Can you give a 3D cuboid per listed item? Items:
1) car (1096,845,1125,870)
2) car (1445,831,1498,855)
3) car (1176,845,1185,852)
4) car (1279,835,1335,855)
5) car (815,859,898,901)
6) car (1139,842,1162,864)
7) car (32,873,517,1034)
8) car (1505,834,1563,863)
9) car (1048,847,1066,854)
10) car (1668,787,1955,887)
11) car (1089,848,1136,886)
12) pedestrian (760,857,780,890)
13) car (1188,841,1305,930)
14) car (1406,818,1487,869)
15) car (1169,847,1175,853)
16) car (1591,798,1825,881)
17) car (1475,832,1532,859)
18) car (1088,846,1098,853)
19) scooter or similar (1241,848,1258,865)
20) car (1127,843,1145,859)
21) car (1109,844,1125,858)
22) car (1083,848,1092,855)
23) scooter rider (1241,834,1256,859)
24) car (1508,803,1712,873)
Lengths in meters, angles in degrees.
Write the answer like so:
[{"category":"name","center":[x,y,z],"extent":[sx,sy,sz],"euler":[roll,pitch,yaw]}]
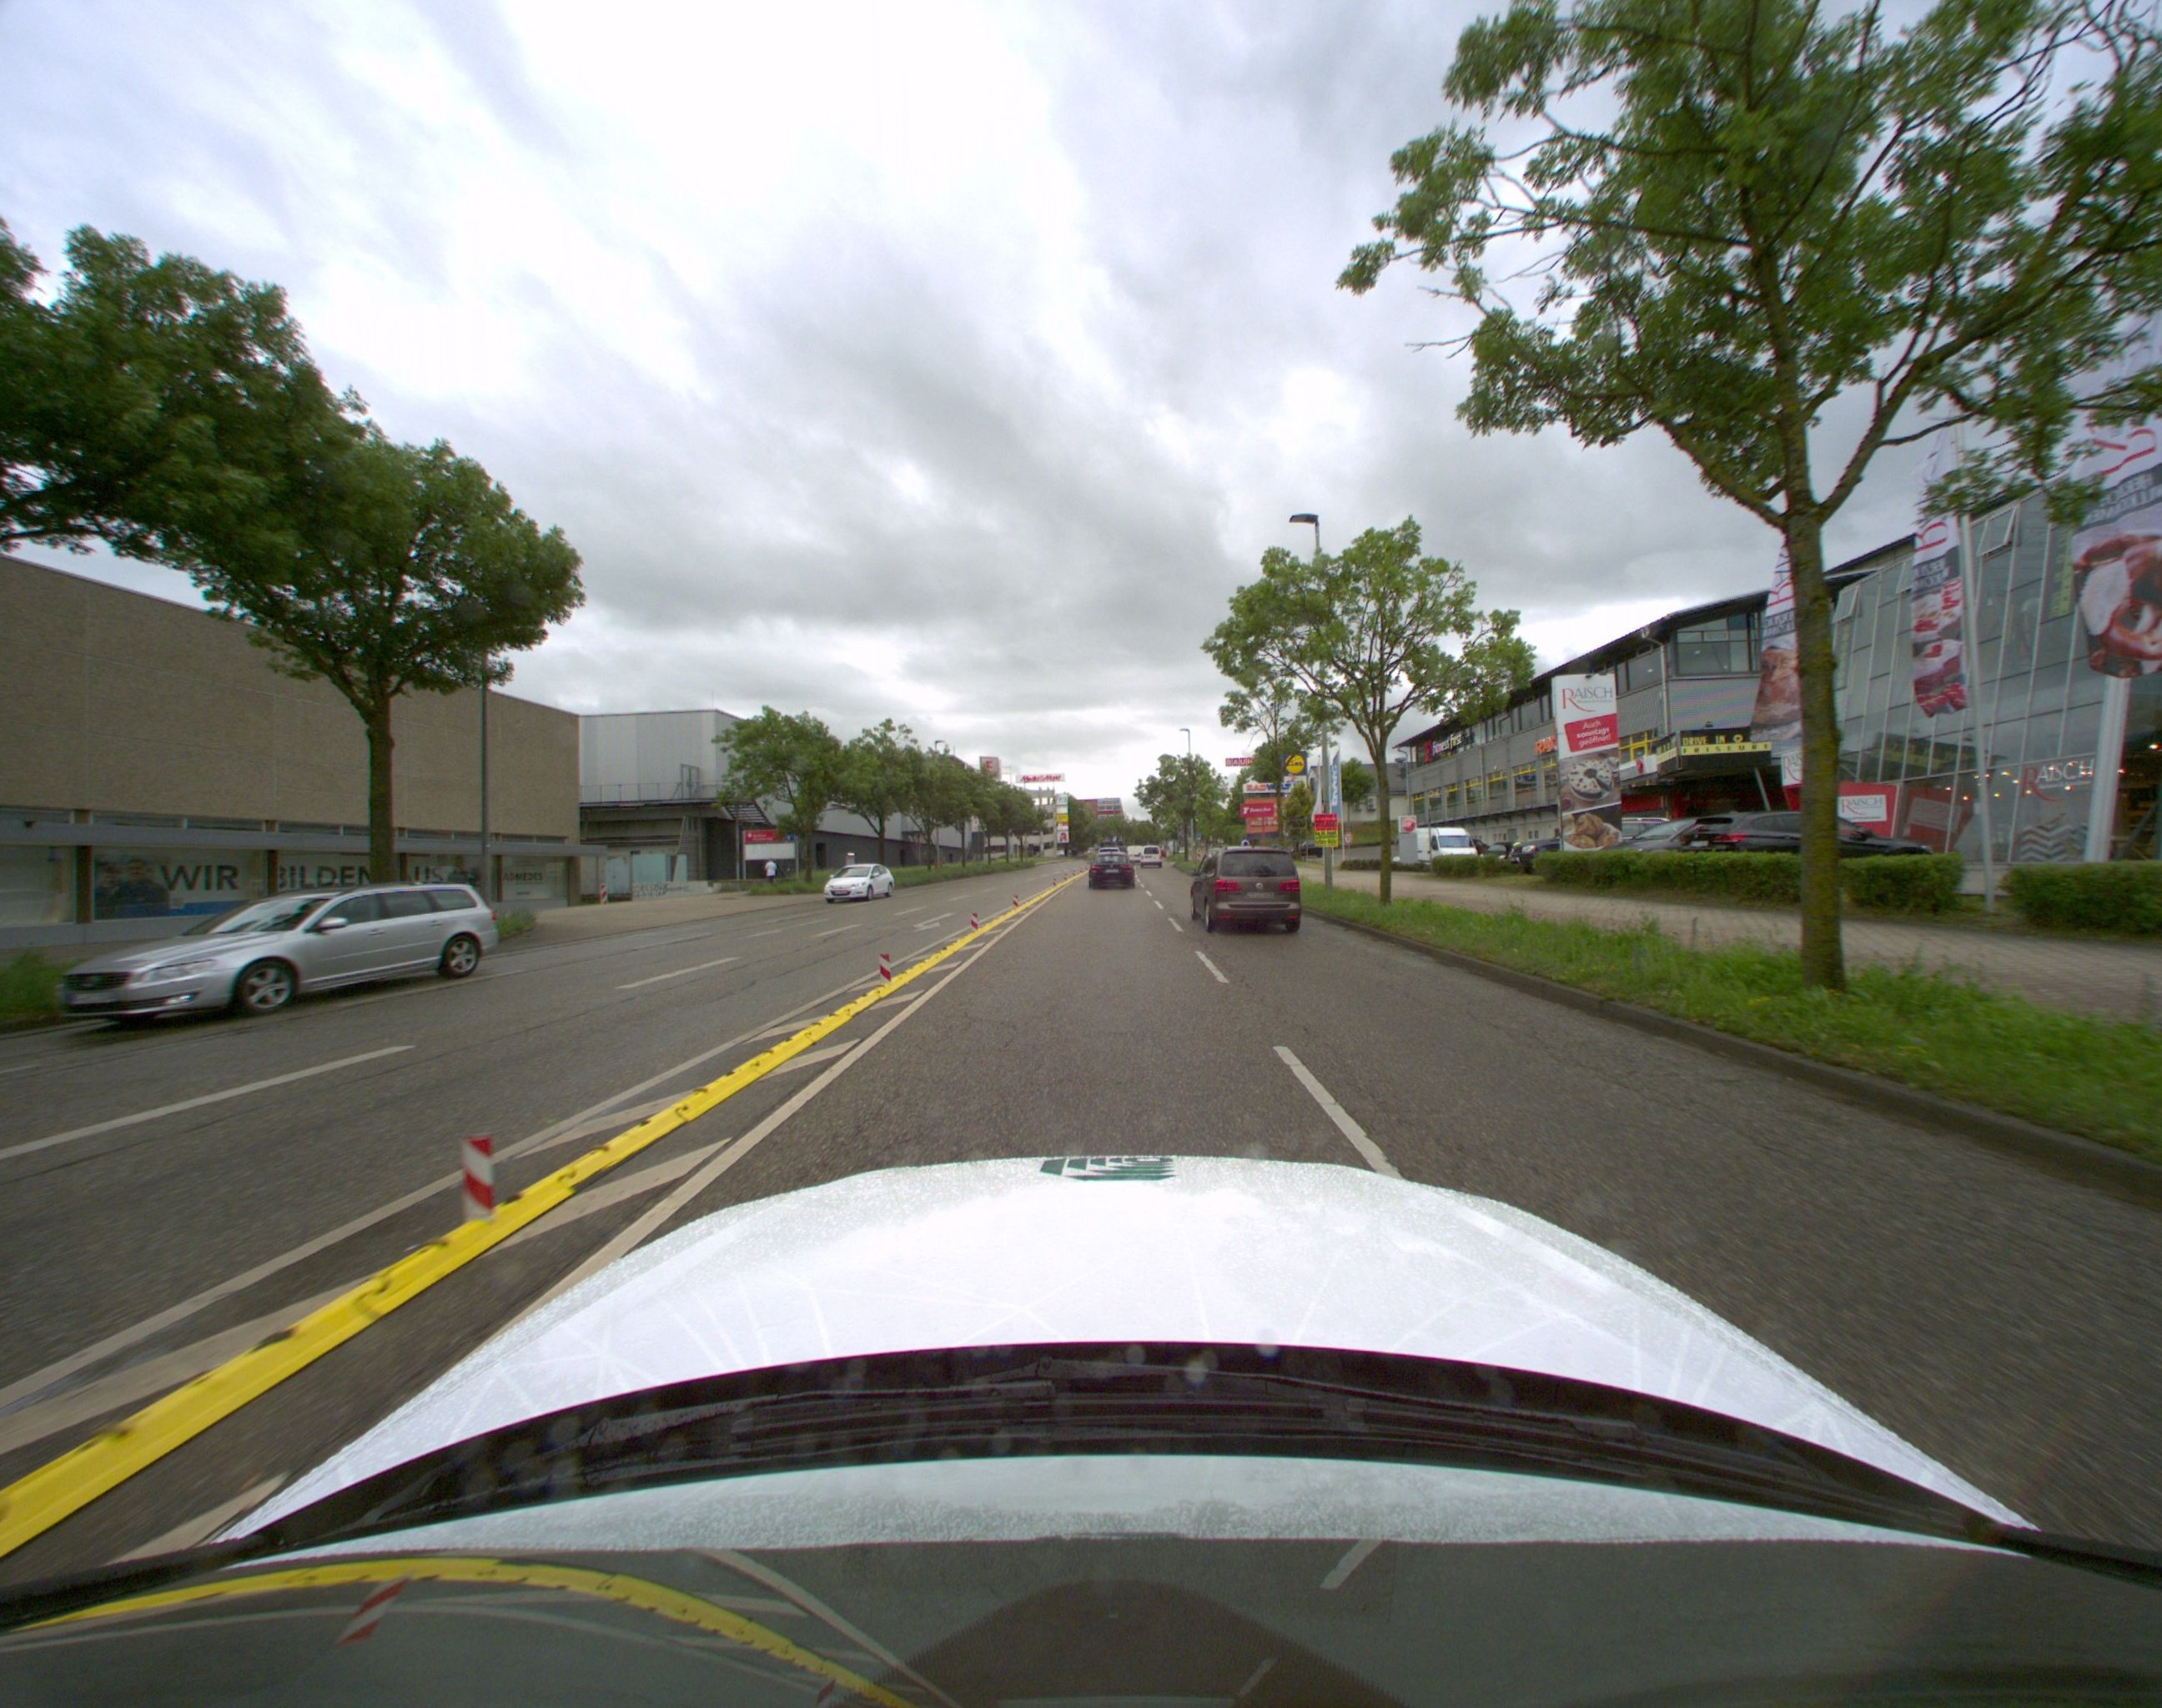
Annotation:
[{"category":"car","center":[1.935,0.203,52.422],"extent":[1.787,1.510,4.003],"euler":[0,0,3]},{"category":"car","center":[27.431,-0.778,57.189],"extent":[3.893,1.501,1.720],"euler":[-4,3,-37]},{"category":"car","center":[21.077,-1.108,173.411],"extent":[1.785,1.510,4.006],"euler":[0,0,5]},{"category":"car","center":[18.766,-0.730,67.700],"extent":[4.091,1.438,1.791],"euler":[-2,2,-10]},{"category":"car","center":[-8.841,0.987,32.493],"extent":[1.733,1.406,4.473],"euler":[-4,0,4]},{"category":"car","center":[5.786,-0.138,67.655],"extent":[1.819,1.759,4.005],"euler":[0,1,4]},{"category":"car","center":[-10.566,1.156,11.375],"extent":[1.733,1.552,4.786],"euler":[-3,0,4]},{"category":"car","center":[26.684,-0.354,47.913],"extent":[4.284,1.470,1.762],"euler":[-4,3,-43]},{"category":"car","center":[-6.421,-0.827,214.928],"extent":[4.582,1.745,1.968],"euler":[-1,2,1]},{"category":"car","center":[15.116,-0.339,17.064],"extent":[4.148,1.600,1.803],"euler":[-5,0,6]},{"category":"car","center":[1.297,0.492,33.575],"extent":[1.820,1.468,4.002],"euler":[0,1,2]},{"category":"pedestrian","center":[-14.967,0.922,39.185],"extent":[0.581,1.583,0.768],"euler":[0,0,5]},{"category":"car","center":[3.207,0.548,16.567],"extent":[1.679,1.581,4.221],"euler":[0,0,2]},{"category":"car","center":[19.463,-0.566,43.679],"extent":[2.216,2.536,5.689],"euler":[0,1,5]},{"category":"car","center":[24.990,-1.149,223.890],"extent":[1.785,1.510,4.006],"euler":[0,0,5]},{"category":"car","center":[15.295,-0.341,20.071],"extent":[4.148,1.600,1.831],"euler":[-5,0,6]},{"category":"car","center":[26.420,-0.550,50.893],"extent":[4.283,1.470,1.719],"euler":[-4,3,-41]},{"category":"car","center":[3.295,-1.134,223.686],"extent":[2.028,1.761,4.956],"euler":[-1,2,6]},{"category":"scooter or similar","center":[13.032,0.163,63.032],"extent":[0.695,1.263,1.395],"euler":[-4,1,-11]},{"category":"car","center":[5.449,-0.294,80.986],"extent":[1.786,1.510,4.004],"euler":[0,0,4]},{"category":"car","center":[4.052,-0.357,91.927],"extent":[1.787,1.510,4.003],"euler":[0,0,3]},{"category":"car","center":[1.783,-0.539,209.309],"extent":[1.924,1.608,4.718],"euler":[-1,2,5]},{"category":"scooter rider","center":[12.969,-0.579,63.069],"extent":[0.695,1.820,0.855],"euler":[-4,1,-11]},{"category":"car","center":[15.575,-0.457,24.262],"extent":[4.623,1.600,1.933],"euler":[-5,0,13]}]
